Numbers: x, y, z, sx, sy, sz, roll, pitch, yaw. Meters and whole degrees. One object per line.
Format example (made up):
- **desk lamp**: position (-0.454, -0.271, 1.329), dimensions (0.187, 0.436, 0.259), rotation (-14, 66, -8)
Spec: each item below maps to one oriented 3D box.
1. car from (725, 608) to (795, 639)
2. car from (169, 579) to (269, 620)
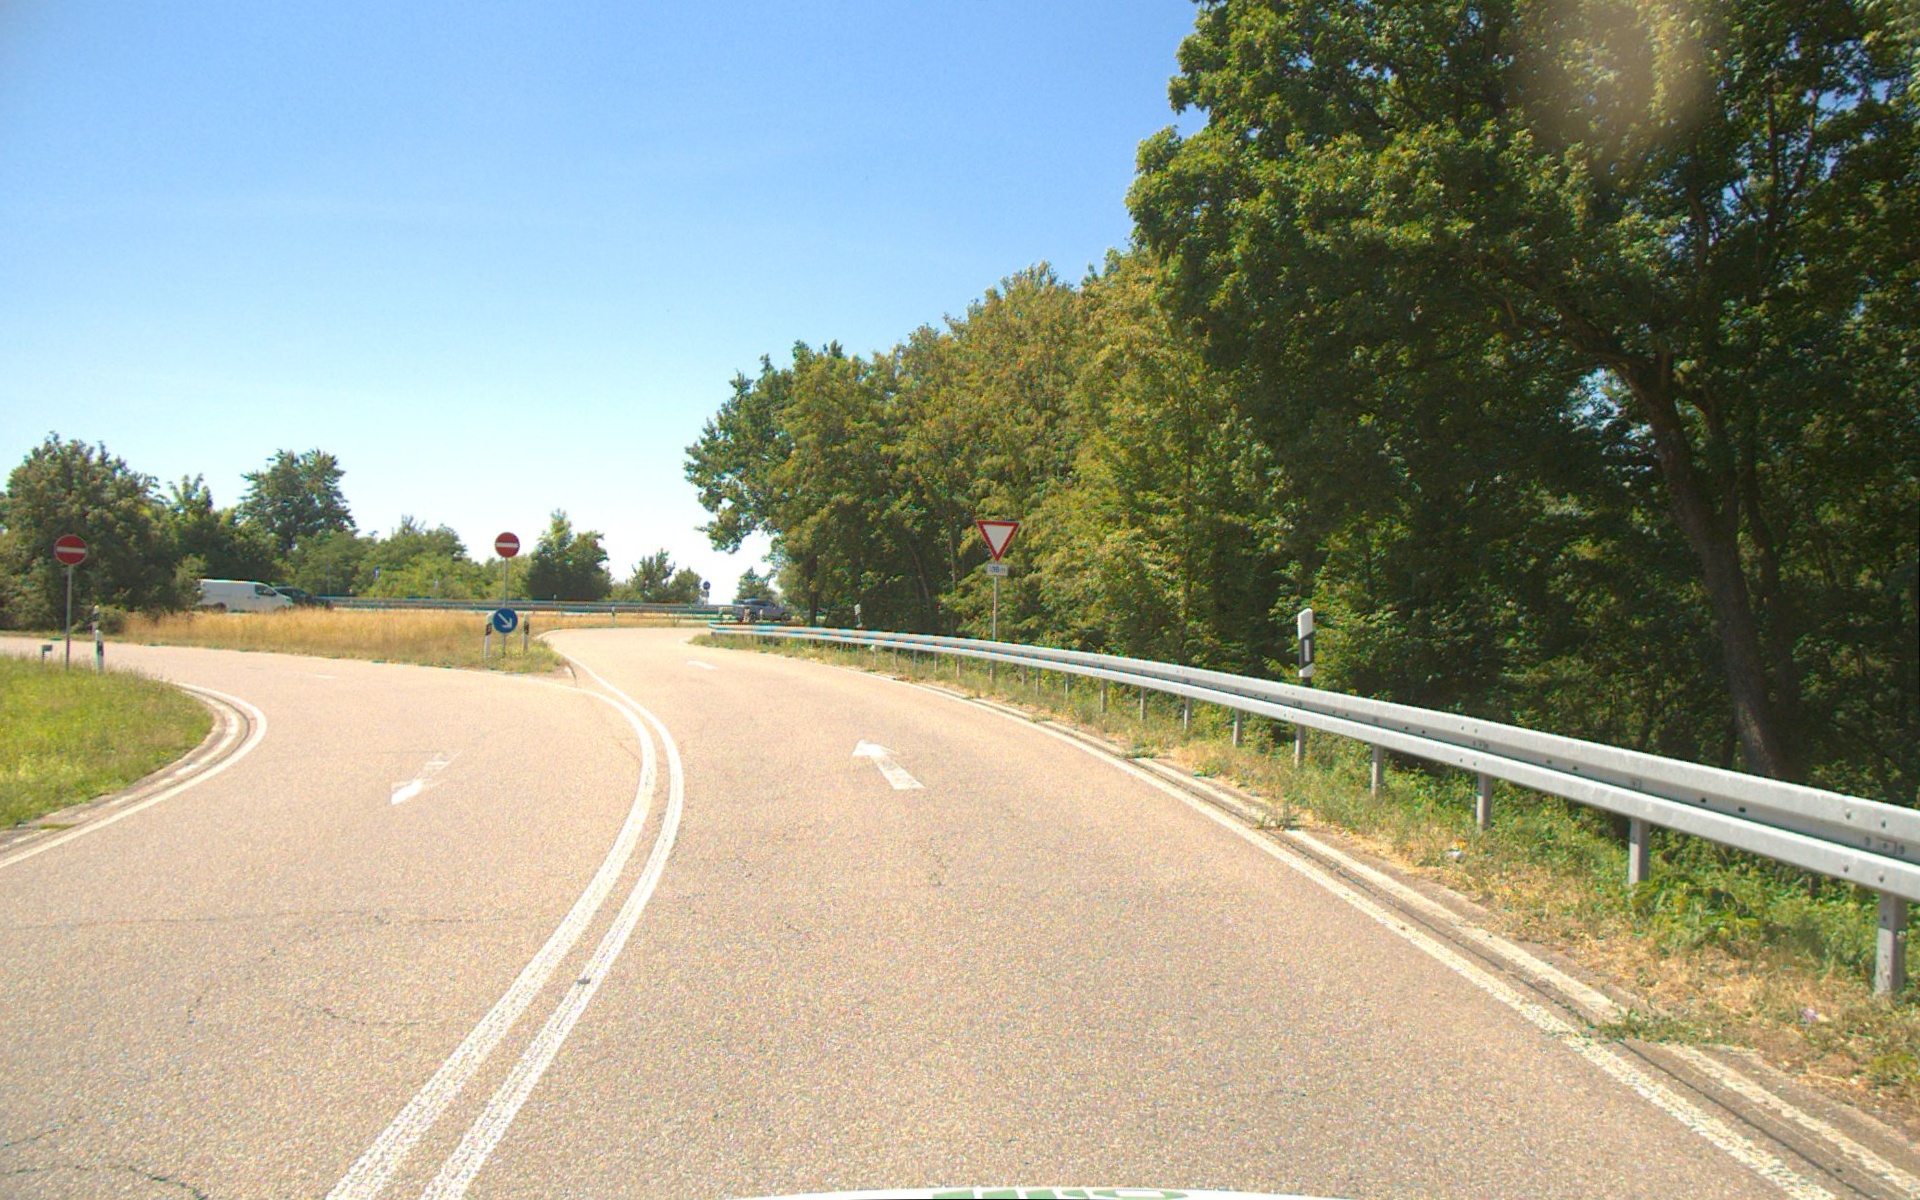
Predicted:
- **car**: position (-14.025, 1.647, 116.031), dimensions (4.484, 1.961, 1.972), rotation (4, -3, -39)
- **car**: position (-39.853, -0.008, 89.033), dimensions (4.491, 1.961, 1.969), rotation (4, -3, -43)
